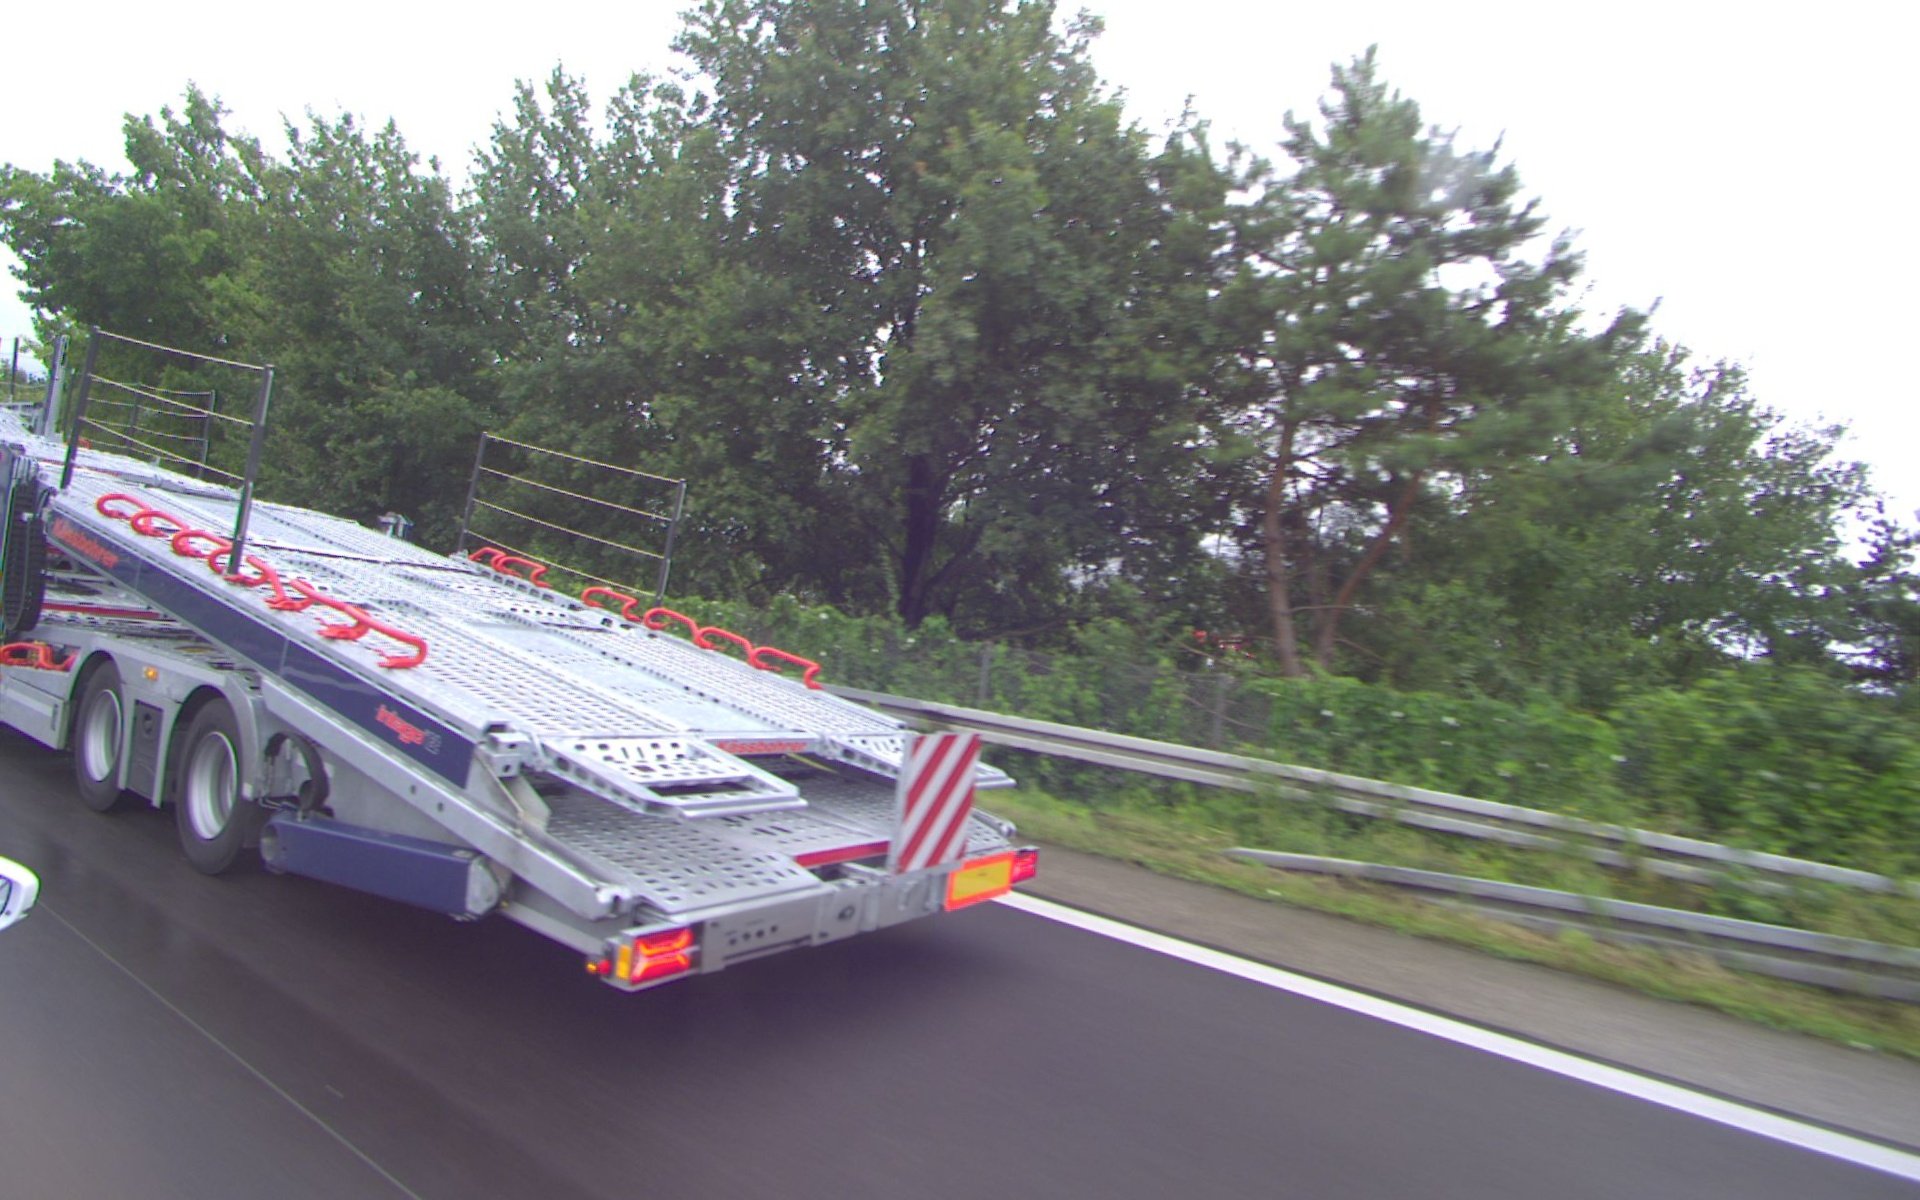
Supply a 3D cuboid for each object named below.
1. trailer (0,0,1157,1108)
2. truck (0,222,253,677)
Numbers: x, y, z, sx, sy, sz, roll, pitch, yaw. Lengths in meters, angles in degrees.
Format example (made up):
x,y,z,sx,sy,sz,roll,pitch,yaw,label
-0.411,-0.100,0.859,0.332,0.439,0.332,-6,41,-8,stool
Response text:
x,y,z,sx,sy,sz,roll,pitch,yaw,label
-4.212,-0.624,6.647,10.238,3.322,2.782,6,-2,33,trailer
-12.191,-1.720,12.015,8.982,4.014,2.742,6,-2,34,truck
